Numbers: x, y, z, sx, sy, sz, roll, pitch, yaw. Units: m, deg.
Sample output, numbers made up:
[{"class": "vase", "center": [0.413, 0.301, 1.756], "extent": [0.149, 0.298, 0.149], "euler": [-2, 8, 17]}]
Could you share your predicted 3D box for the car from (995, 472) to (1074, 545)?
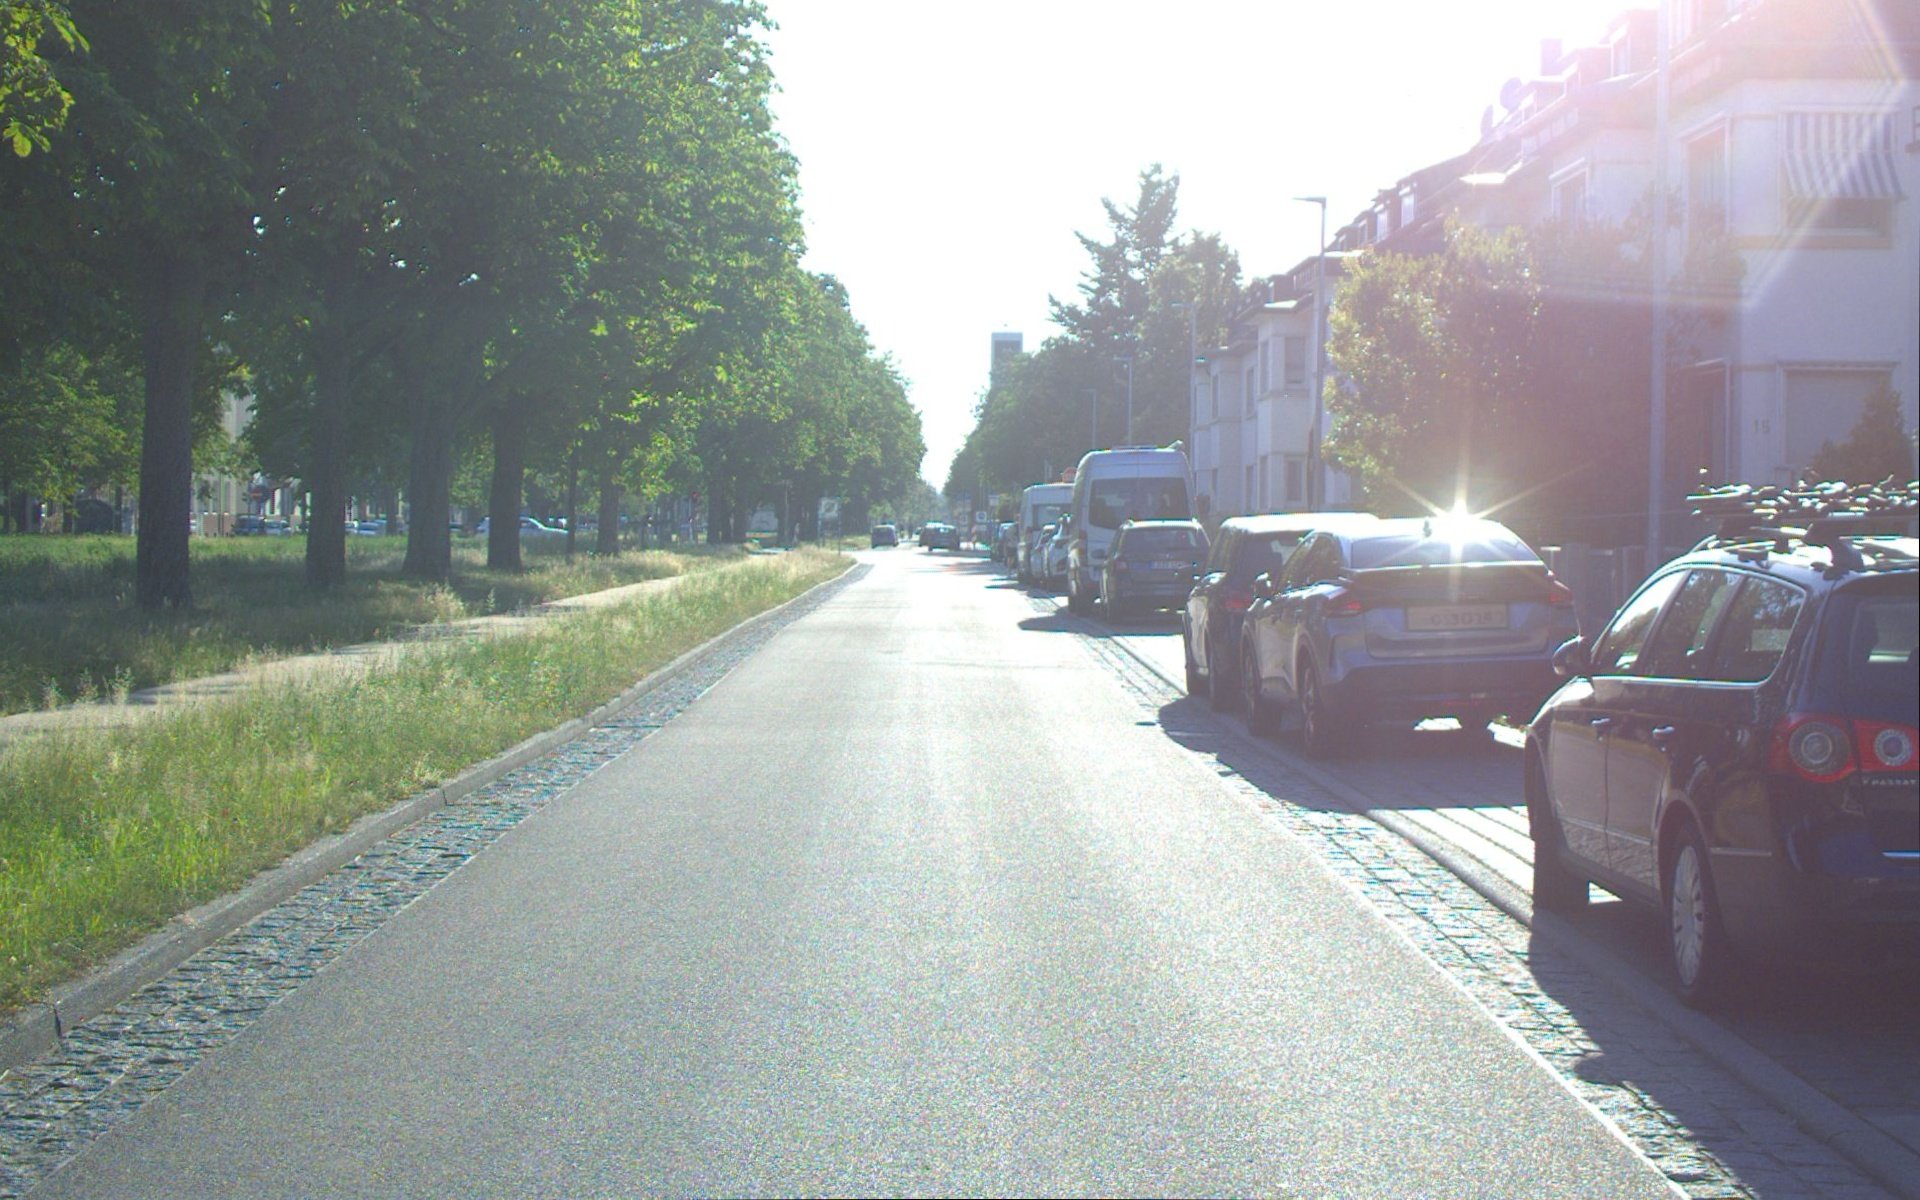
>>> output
[{"class": "car", "center": [2.143, -2.678, 100.187], "extent": [2.126, 2.060, 5.189], "euler": [-1, 2, 0]}]

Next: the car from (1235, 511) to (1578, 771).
[{"class": "car", "center": [2.962, 0.202, 23.622], "extent": [1.718, 1.568, 4.211], "euler": [-2, 1, -1]}]

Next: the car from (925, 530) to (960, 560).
[{"class": "car", "center": [-0.974, -3.083, 193.091], "extent": [1.863, 1.591, 3.894], "euler": [1, 1, -1]}]

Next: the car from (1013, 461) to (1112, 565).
[{"class": "car", "center": [2.552, -2.209, 86.868], "extent": [2.126, 2.524, 5.189], "euler": [-1, 2, -2]}]

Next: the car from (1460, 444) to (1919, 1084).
[{"class": "car", "center": [2.979, 0.363, 11.793], "extent": [1.794, 1.765, 4.473], "euler": [-2, 2, 0]}]

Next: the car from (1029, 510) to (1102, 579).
[{"class": "car", "center": [2.460, -1.321, 80.816], "extent": [1.650, 1.525, 3.851], "euler": [-1, 2, 1]}]

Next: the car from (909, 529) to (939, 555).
[{"class": "car", "center": [-2.343, -3.784, 224.443], "extent": [1.863, 1.591, 3.870], "euler": [1, 1, -1]}]

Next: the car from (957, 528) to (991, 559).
[{"class": "car", "center": [0.713, -2.883, 174.550], "extent": [1.650, 1.525, 3.851], "euler": [-1, 2, 1]}]

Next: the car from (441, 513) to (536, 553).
[{"class": "car", "center": [-21.911, -3.109, 159.696], "extent": [4.345, 1.758, 2.001], "euler": [1, 1, -8]}]

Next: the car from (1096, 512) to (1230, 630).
[{"class": "car", "center": [2.922, -0.457, 50.245], "extent": [1.663, 1.587, 4.086], "euler": [-2, 2, 0]}]

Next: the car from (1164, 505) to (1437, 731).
[{"class": "car", "center": [2.827, 0.084, 29.455], "extent": [1.832, 1.679, 4.416], "euler": [2, 2, 0]}]

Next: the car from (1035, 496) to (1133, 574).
[{"class": "car", "center": [2.692, -1.457, 75.430], "extent": [1.837, 1.630, 4.132], "euler": [-1, 2, -2]}]

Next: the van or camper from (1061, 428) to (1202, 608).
[{"class": "van or camper", "center": [2.769, -1.334, 56.738], "extent": [1.943, 2.768, 5.940], "euler": [1, 1, 0]}]

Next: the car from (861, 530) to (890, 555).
[{"class": "car", "center": [-5.646, -3.858, 229.666], "extent": [1.863, 1.591, 3.870], "euler": [1, 1, -1]}]
